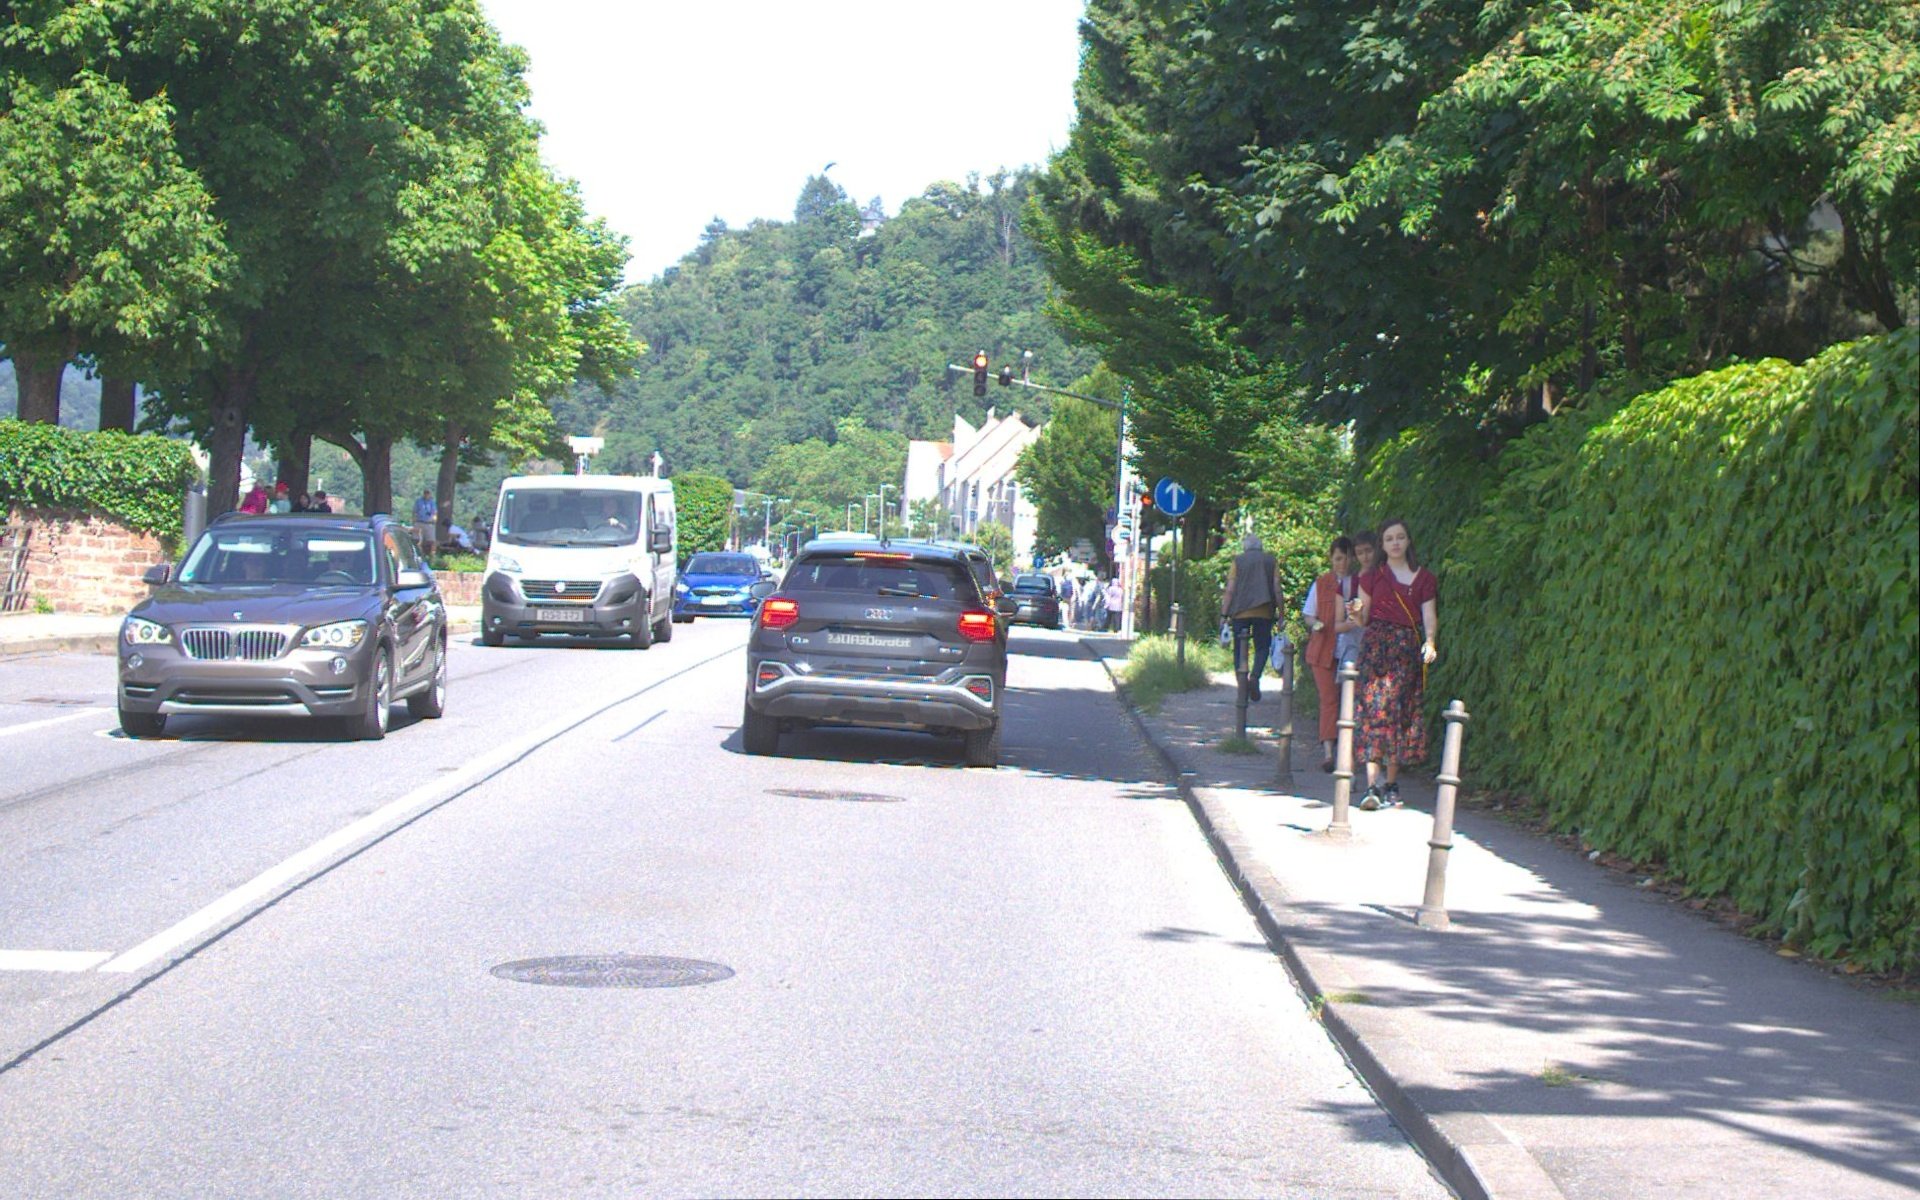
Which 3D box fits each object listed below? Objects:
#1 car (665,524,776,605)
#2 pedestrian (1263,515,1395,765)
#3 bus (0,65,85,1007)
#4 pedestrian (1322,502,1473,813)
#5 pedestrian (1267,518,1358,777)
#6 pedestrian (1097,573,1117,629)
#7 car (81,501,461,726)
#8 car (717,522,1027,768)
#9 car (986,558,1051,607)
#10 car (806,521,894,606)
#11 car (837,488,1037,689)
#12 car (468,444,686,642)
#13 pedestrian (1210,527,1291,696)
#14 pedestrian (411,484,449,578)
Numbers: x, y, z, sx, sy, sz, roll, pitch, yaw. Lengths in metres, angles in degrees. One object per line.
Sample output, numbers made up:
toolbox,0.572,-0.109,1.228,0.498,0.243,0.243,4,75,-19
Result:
car,-4.748,-0.688,68.559,1.899,1.484,3.796,2,-1,0
pedestrian,2.485,0.255,23.236,0.735,1.628,0.920,2,1,0
bus,-4.186,-0.158,7.176,2.597,2.886,8.448,2,1,-1
pedestrian,2.534,0.315,19.996,0.681,1.736,0.913,3,2,0
pedestrian,2.221,0.291,21.678,0.455,1.600,0.579,2,1,0
pedestrian,4.149,0.028,96.870,0.489,1.554,0.461,2,-1,0
car,-4.733,0.026,24.215,1.815,1.393,4.347,2,2,-1
car,-0.544,0.269,24.707,1.857,1.518,4.000,3,1,3
car,1.863,-0.556,110.883,1.993,1.448,4.008,2,-1,0
car,-3.445,-1.115,108.555,2.494,2.458,5.619,2,-1,0
car,-0.248,-0.173,37.463,1.993,2.006,4.000,2,2,0
car,-4.825,-0.765,44.110,2.096,2.294,5.869,2,2,0
pedestrian,2.865,0.104,33.978,0.728,1.644,0.882,0,1,0
pedestrian,-11.636,-1.509,75.533,0.640,2.007,0.730,2,-1,0
